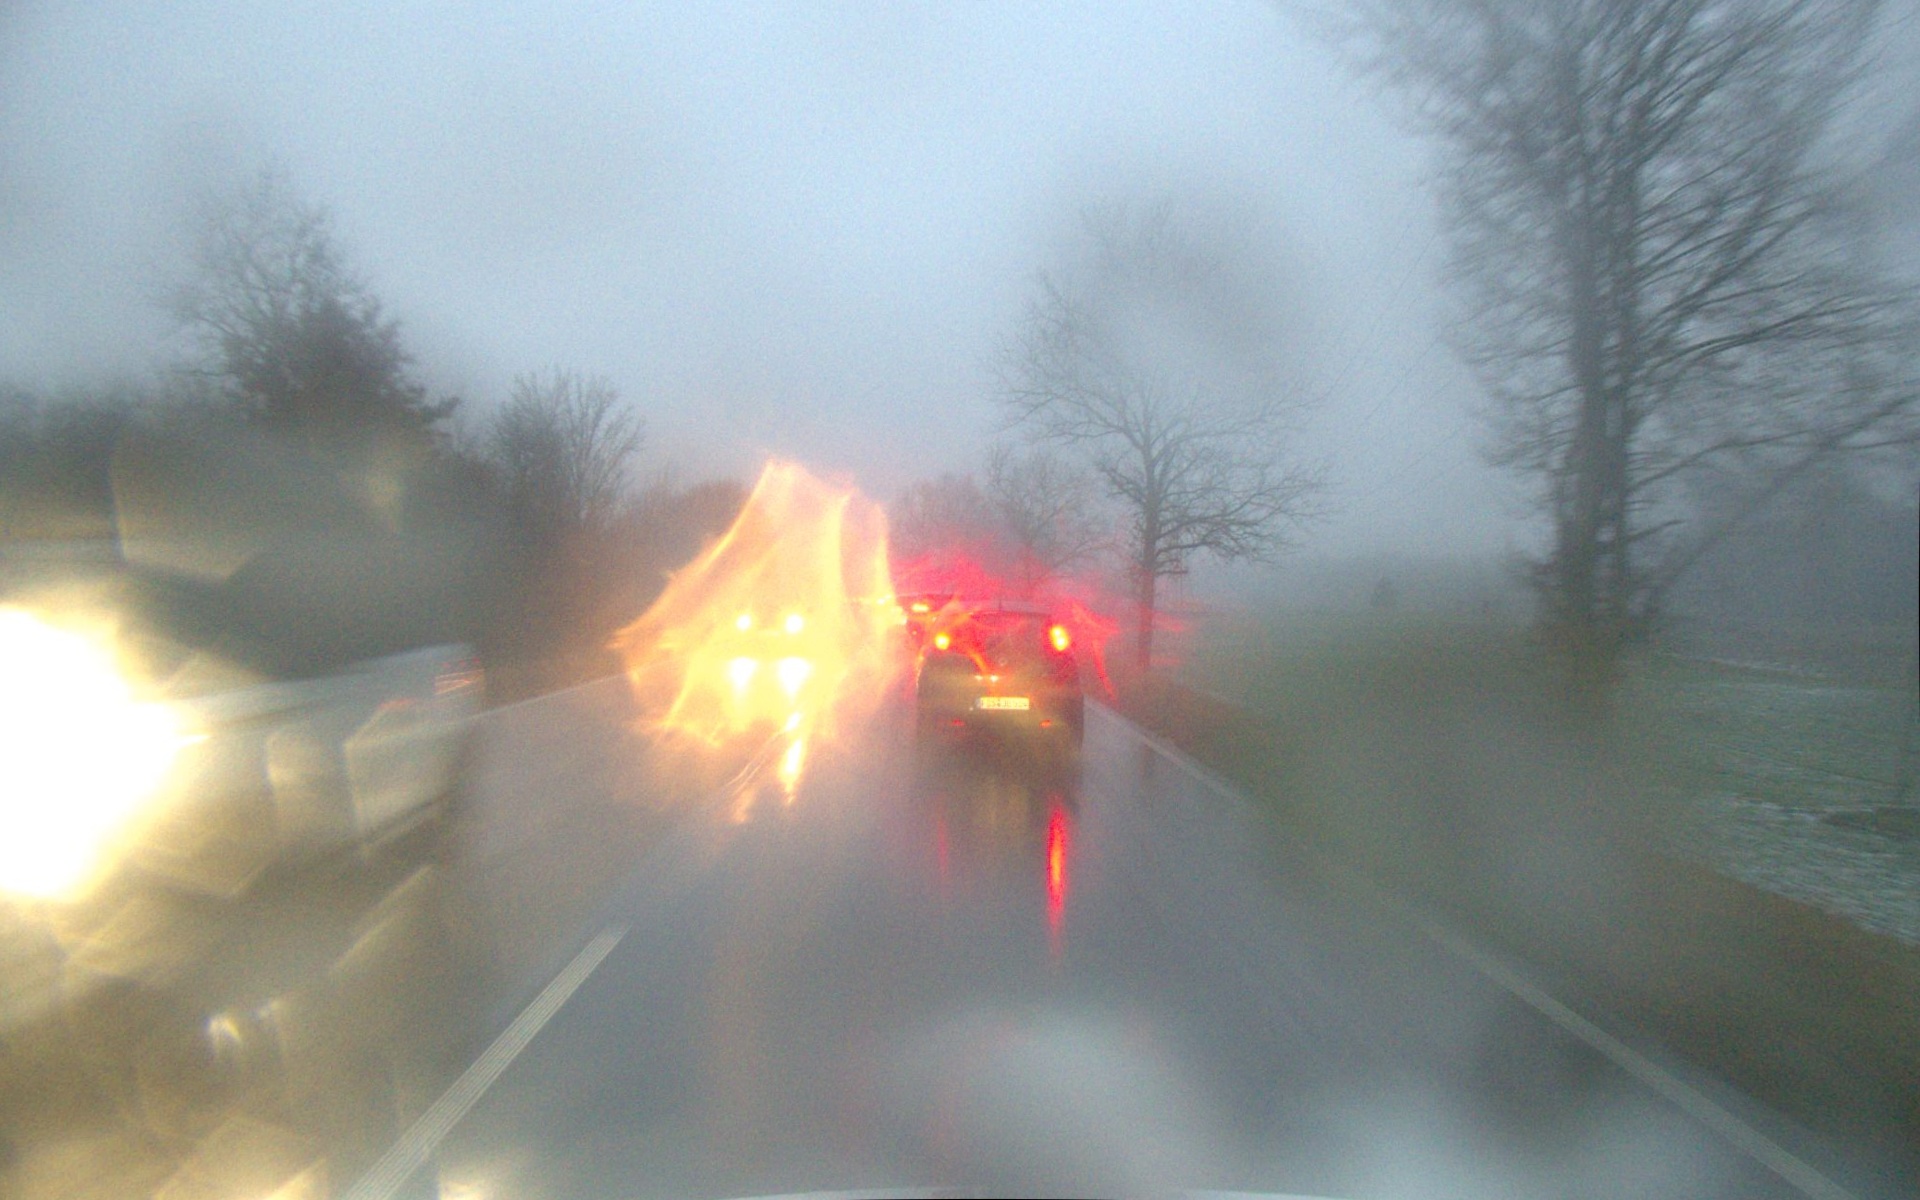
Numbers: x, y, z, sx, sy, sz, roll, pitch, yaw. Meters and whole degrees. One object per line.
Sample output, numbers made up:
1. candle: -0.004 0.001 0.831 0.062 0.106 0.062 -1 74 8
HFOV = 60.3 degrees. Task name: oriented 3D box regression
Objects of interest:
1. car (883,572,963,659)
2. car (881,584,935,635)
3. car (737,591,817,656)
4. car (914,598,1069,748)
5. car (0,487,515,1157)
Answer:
1. car: -0.885 0.371 42.030 1.814 2.049 4.001 1 0 1
2. car: -1.852 0.313 60.073 1.825 1.729 4.467 1 1 -1
3. car: -4.504 0.559 41.060 1.622 1.512 3.668 1 0 -1
4. car: 0.339 0.702 17.581 1.469 1.423 3.200 1 0 1
5. car: -3.249 0.538 6.488 1.825 1.729 4.467 1 1 -1
